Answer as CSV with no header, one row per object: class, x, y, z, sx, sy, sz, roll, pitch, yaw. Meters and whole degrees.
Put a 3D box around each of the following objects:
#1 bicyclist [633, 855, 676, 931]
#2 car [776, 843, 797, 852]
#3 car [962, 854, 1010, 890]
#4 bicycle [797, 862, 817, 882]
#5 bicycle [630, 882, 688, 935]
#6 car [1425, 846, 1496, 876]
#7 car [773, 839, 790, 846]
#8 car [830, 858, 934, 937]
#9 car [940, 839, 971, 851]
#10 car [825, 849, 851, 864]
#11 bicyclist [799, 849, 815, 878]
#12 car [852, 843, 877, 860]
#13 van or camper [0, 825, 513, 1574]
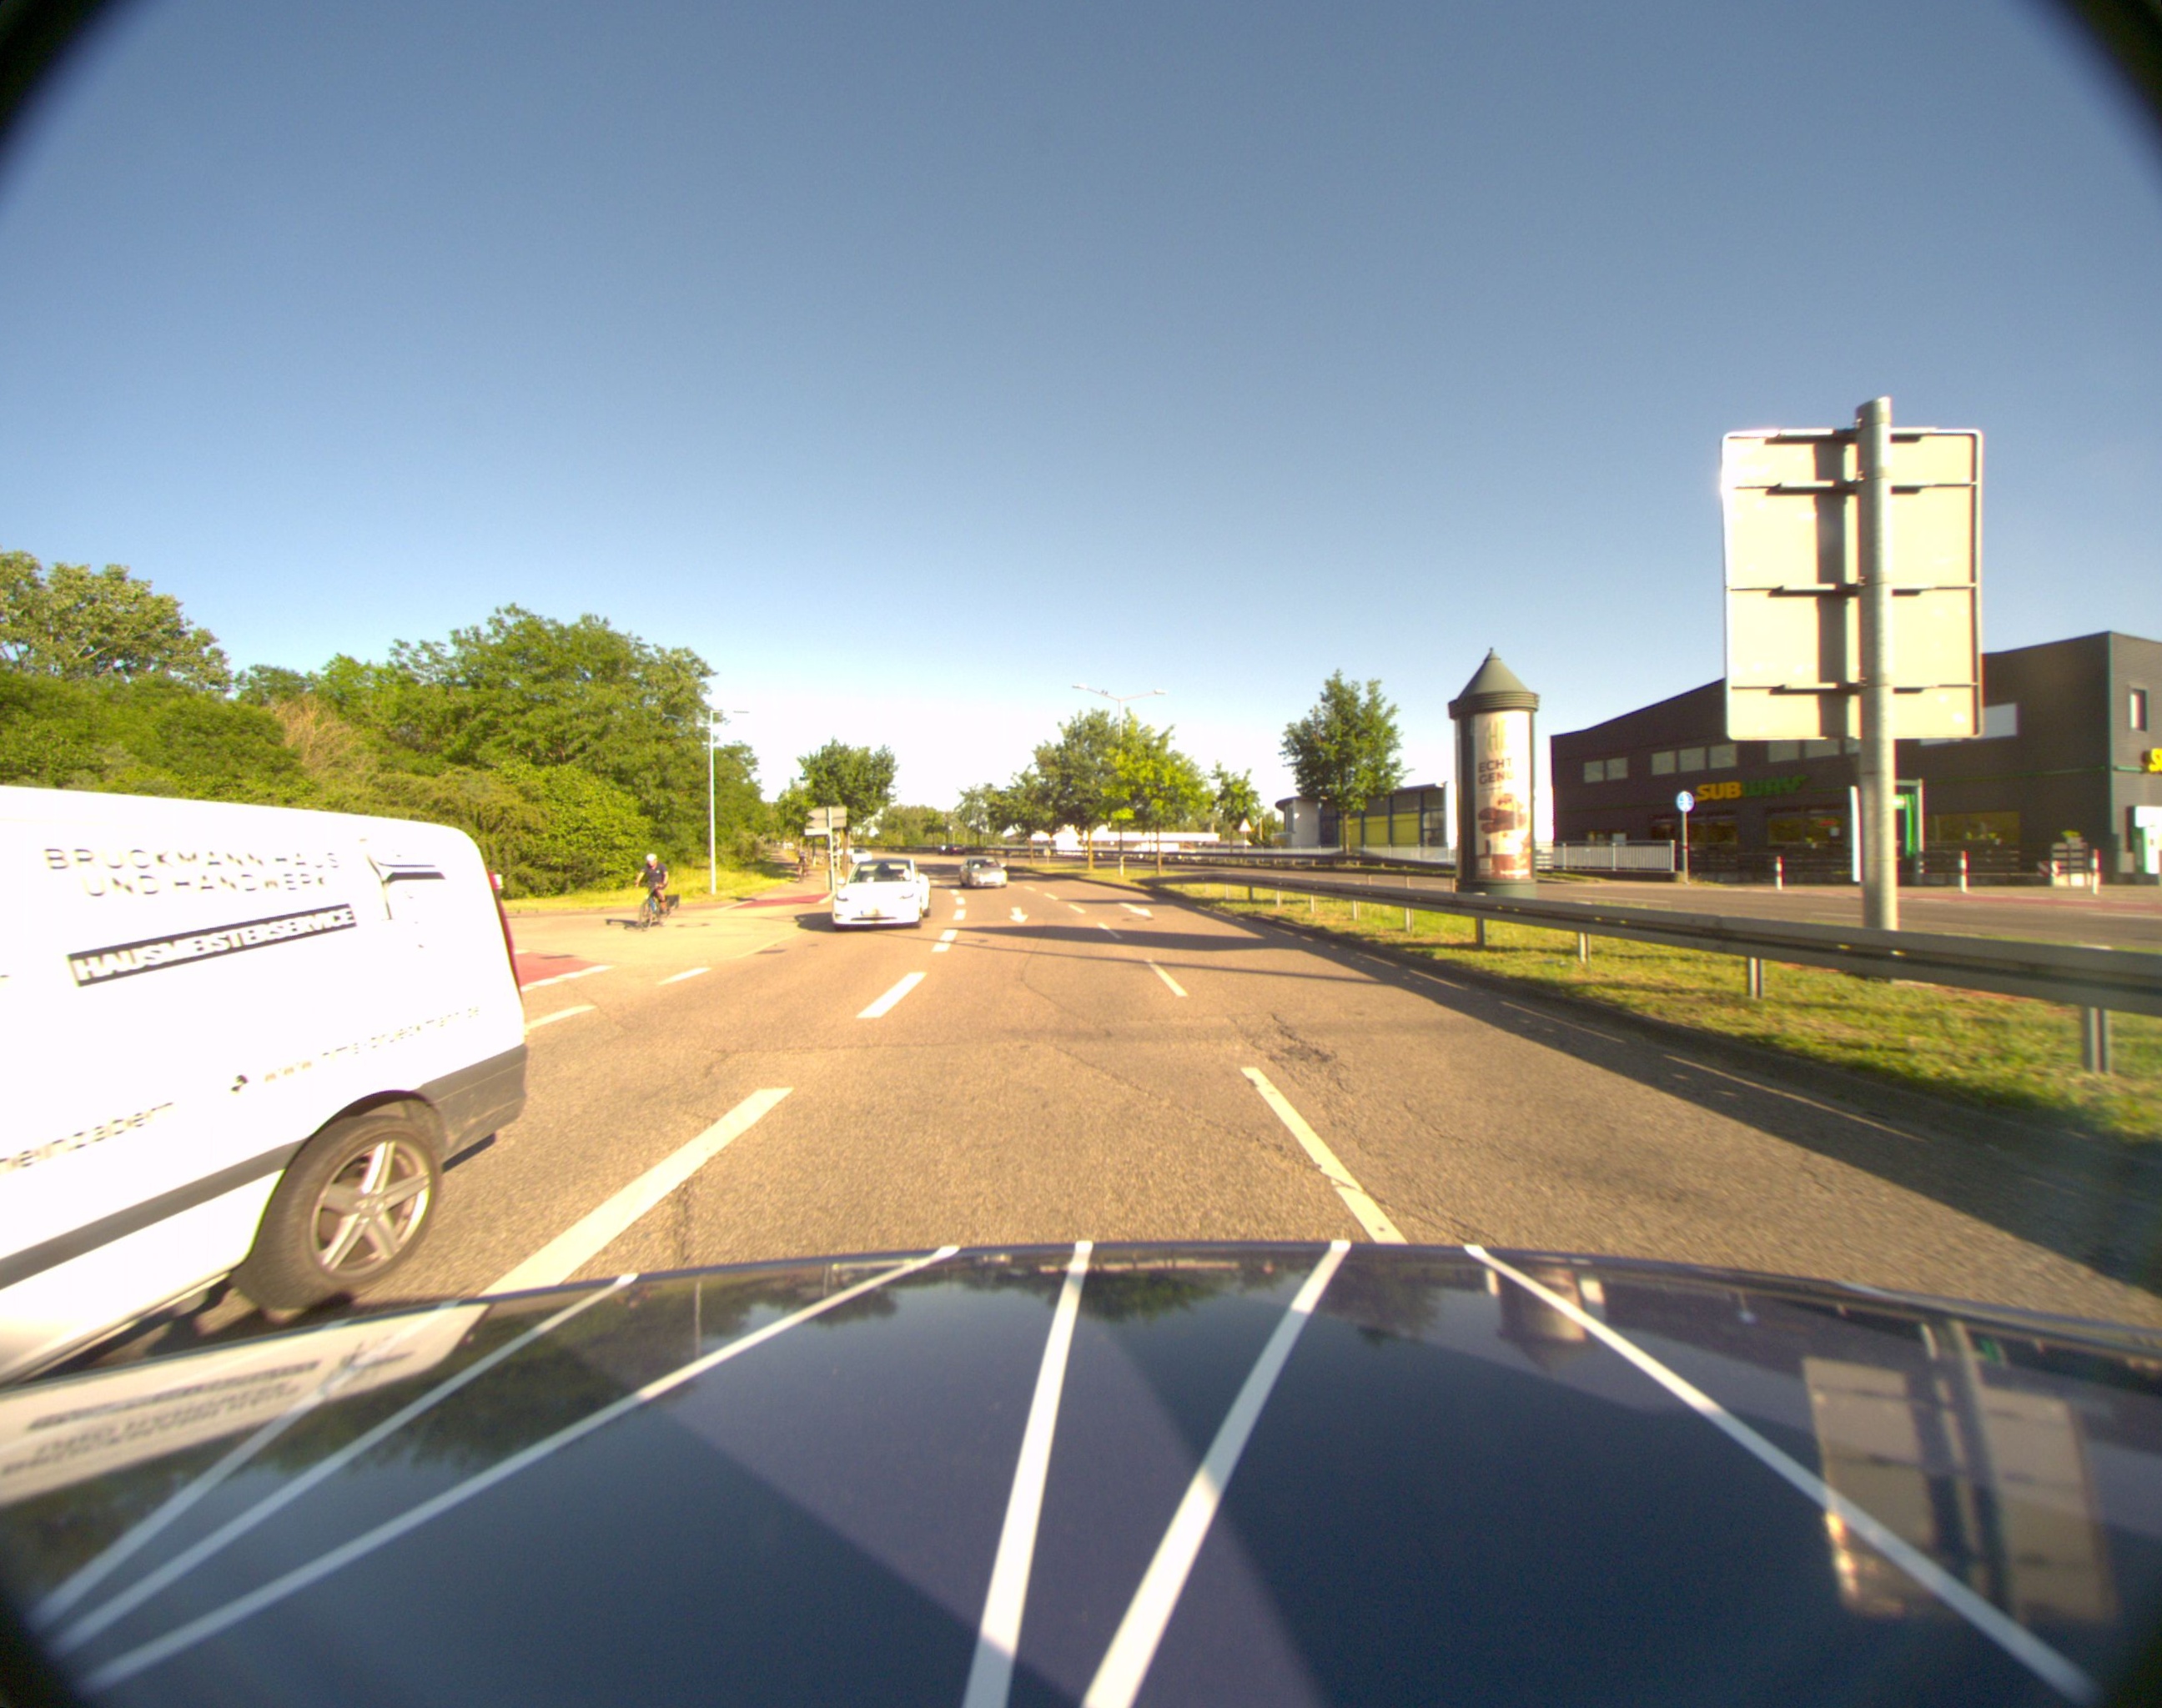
bicyclist,-10.225,0.917,18.239,0.678,1.766,0.947,1,1,-15
car,-51.226,-1.175,131.950,1.771,1.481,4.264,-4,4,-44
car,-4.517,0.801,35.775,1.685,1.433,3.853,-3,1,-15
bicycle,-15.675,0.994,43.462,0.704,1.068,1.916,0,1,-31
bicycle,-10.098,1.281,18.251,0.698,1.089,2.114,1,1,-15
car,22.107,0.396,44.386,3.481,1.558,1.614,-2,2,16
car,-58.301,-2.237,147.810,1.738,1.378,4.483,-3,3,-41
car,-4.731,0.952,18.692,1.920,1.631,4.406,-1,0,-8
car,-15.358,-1.087,92.567,1.809,1.303,4.602,-3,2,-37
car,-29.114,0.262,90.918,2.003,1.707,4.261,-2,1,-31
bicyclist,-15.673,0.539,43.445,0.711,1.569,1.002,0,1,-31
car,-21.783,-0.245,76.435,2.153,1.559,4.191,-2,2,-18
van or camper,-3.690,0.879,1.192,1.963,1.872,4.879,-1,0,-1
